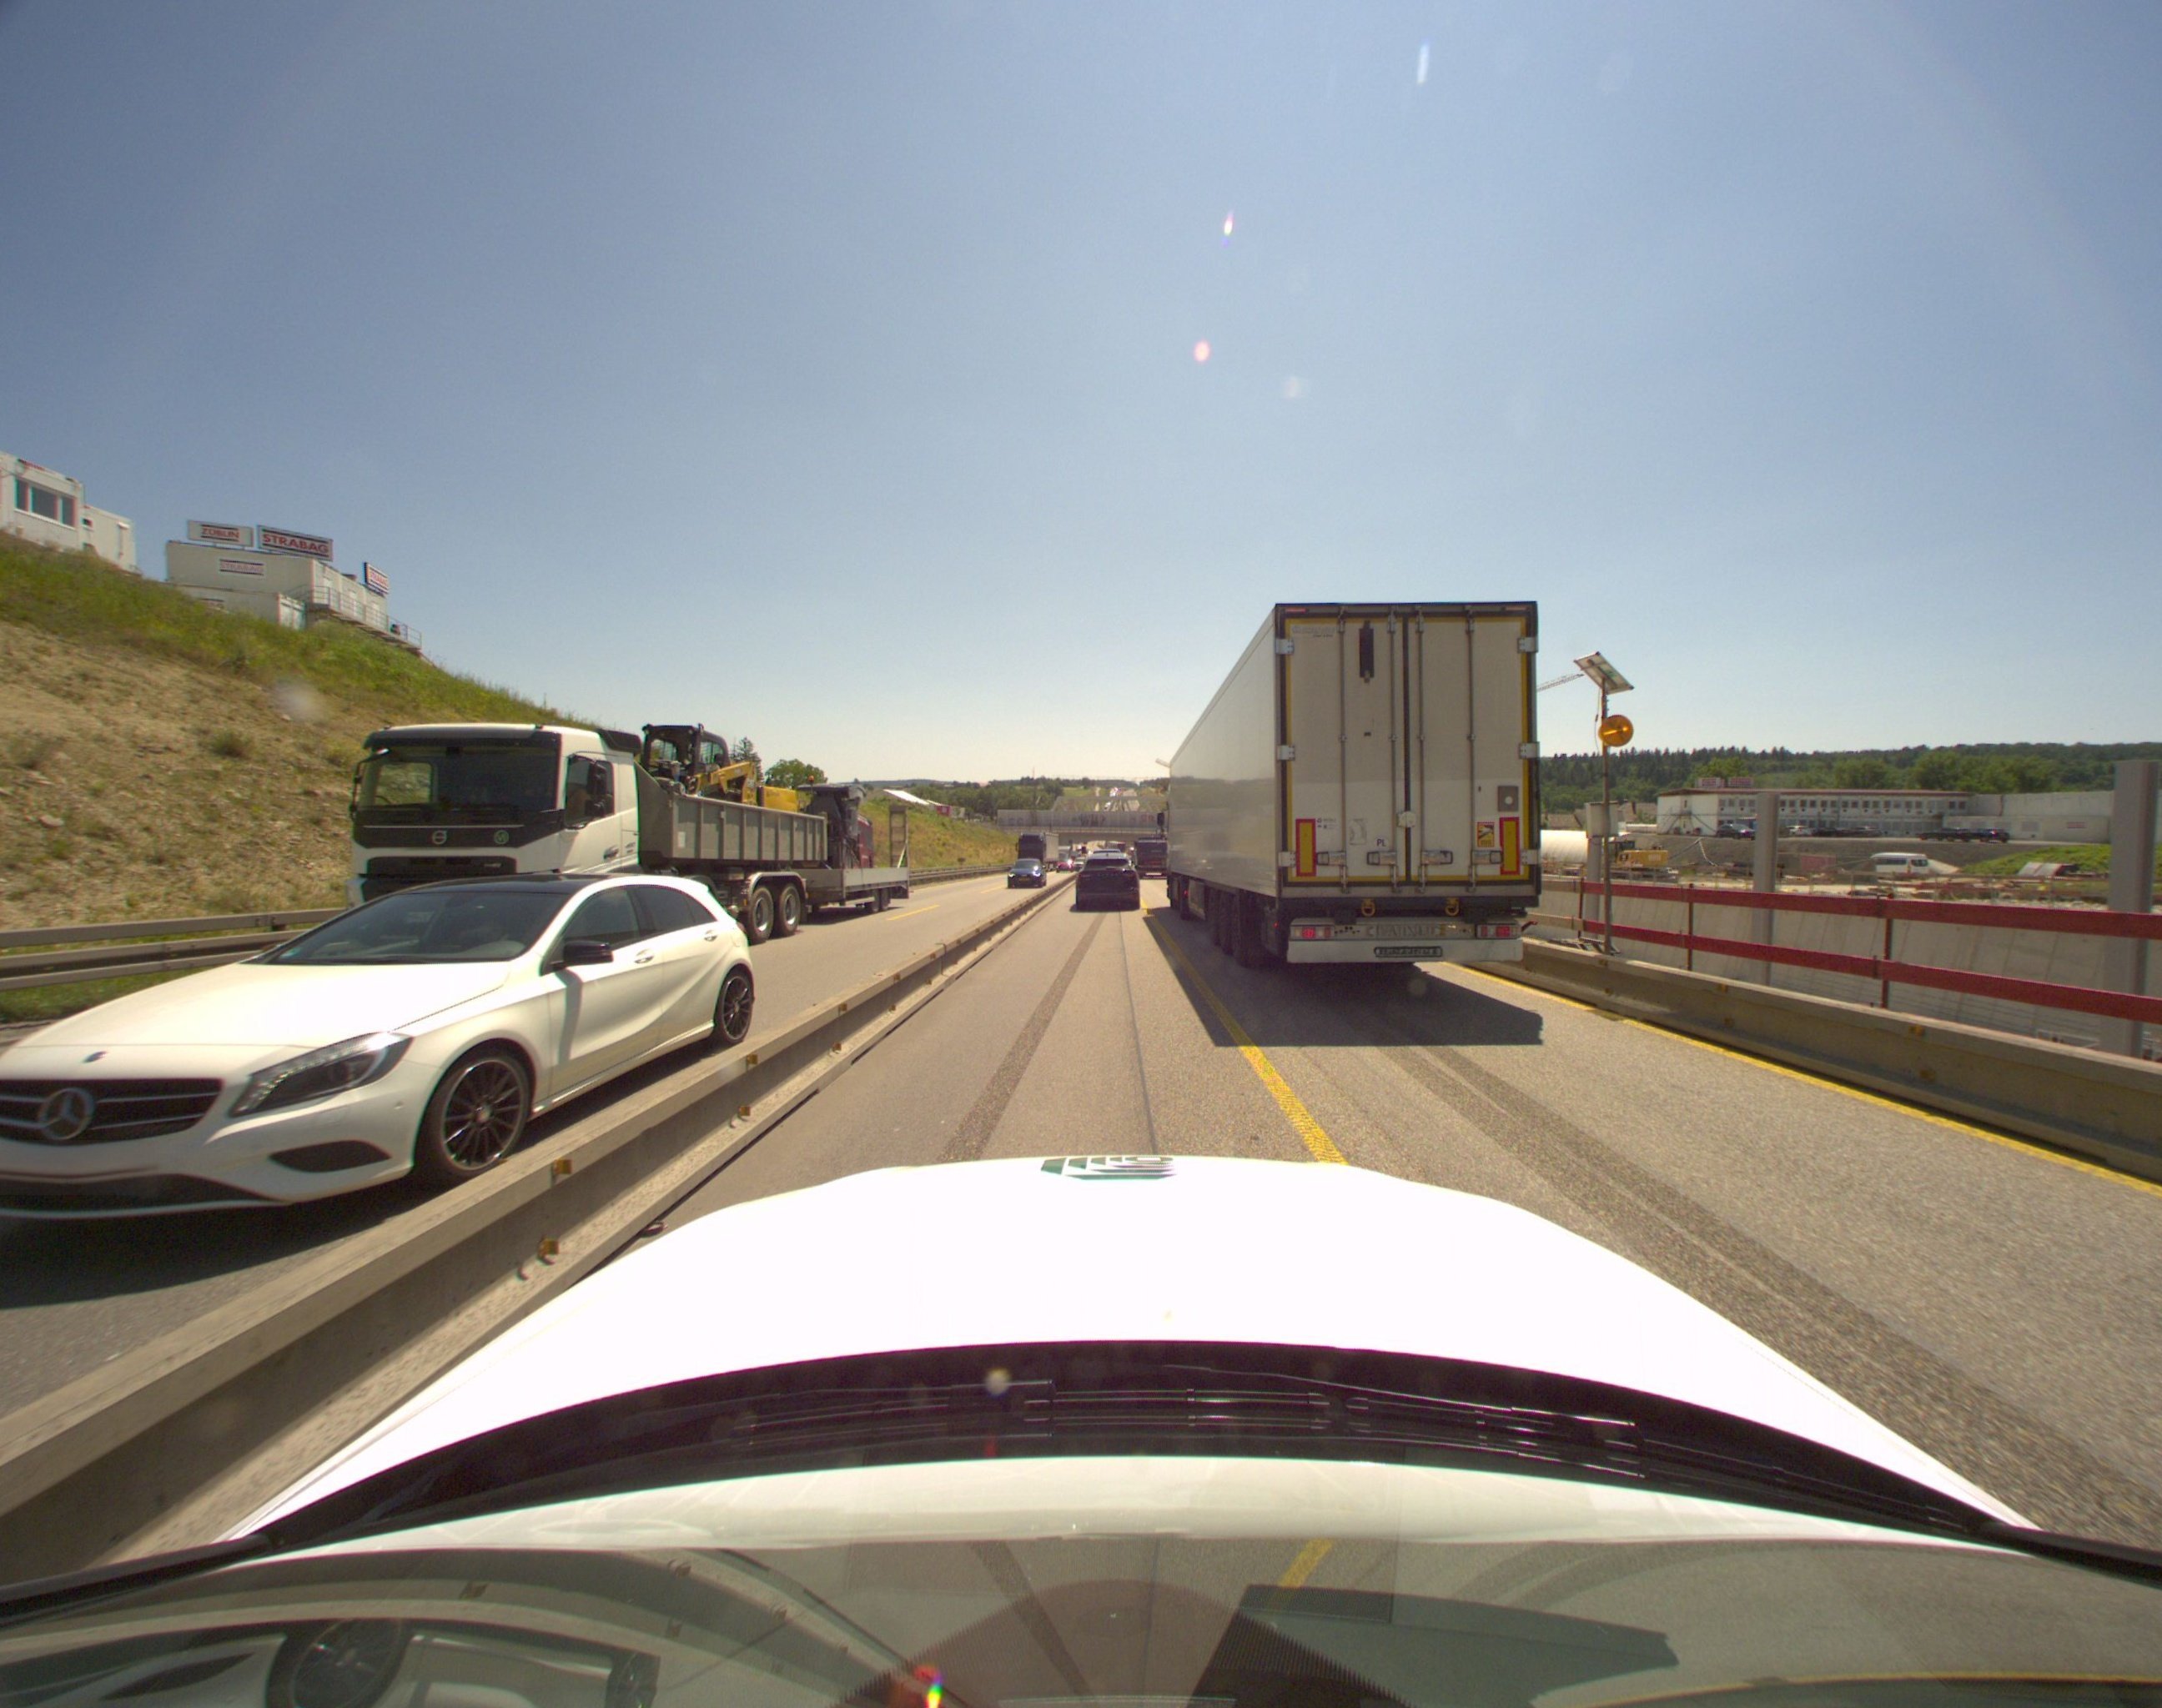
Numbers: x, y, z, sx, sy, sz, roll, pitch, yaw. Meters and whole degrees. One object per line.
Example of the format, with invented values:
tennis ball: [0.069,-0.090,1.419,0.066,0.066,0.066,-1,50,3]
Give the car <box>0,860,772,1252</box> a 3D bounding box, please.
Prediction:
car: [-3.610,0.781,5.135,1.678,1.430,4.123,-1,0,1]

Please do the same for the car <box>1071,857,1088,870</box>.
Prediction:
car: [-0.122,1.173,97.070,1.819,1.487,4.198,-1,0,2]

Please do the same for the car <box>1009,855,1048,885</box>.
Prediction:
car: [-2.599,0.762,40.894,1.683,1.403,3.687,-1,0,1]

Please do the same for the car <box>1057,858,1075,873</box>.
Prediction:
car: [-1.459,1.128,81.064,1.584,1.487,3.296,-1,0,2]

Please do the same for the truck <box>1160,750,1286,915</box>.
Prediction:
truck: [3.751,-0.531,22.637,2.766,4.058,4.907,-1,0,2]

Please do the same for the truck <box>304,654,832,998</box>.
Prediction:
truck: [-7.042,-0.295,13.558,2.577,3.723,9.336,-1,0,2]

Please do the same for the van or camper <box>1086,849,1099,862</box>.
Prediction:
van or camper: [2.236,0.338,160.527,2.206,2.481,4.755,0,-1,4]

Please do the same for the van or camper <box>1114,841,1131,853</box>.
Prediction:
van or camper: [13.036,-2.190,256.231,3.941,3.419,8.382,0,0,-8]

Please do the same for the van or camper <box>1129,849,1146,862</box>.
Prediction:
van or camper: [15.456,0.314,221.843,3.920,3.419,8.428,0,0,9]

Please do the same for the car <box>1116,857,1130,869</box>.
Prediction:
car: [5.108,1.092,98.839,1.486,1.330,3.244,1,0,1]

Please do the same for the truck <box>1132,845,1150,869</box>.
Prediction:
truck: [11.145,0.589,152.412,3.163,4.318,9.264,-1,0,3]

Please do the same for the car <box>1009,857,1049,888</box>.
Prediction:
car: [-2.534,0.891,40.431,1.678,1.430,3.850,-1,0,1]

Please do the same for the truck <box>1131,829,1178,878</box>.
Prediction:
truck: [5.122,-0.024,58.888,2.803,3.135,12.846,-1,0,3]

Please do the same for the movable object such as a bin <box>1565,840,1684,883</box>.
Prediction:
movable object such as a bin: [39.979,0.513,60.437,2.876,2.909,9.485,0,0,3]

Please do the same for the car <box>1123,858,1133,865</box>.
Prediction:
car: [7.756,1.226,134.237,1.533,1.206,3.310,-1,0,0]

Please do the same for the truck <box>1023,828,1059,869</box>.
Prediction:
truck: [-4.115,-0.531,86.937,2.756,4.088,13.812,0,0,2]

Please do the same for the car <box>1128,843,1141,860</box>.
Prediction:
car: [7.309,-0.288,111.331,1.656,2.269,3.797,1,0,1]

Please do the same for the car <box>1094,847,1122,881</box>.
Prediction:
car: [1.529,0.555,45.179,1.469,1.795,3.299,-1,0,2]

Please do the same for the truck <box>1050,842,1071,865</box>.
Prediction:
truck: [-2.634,-0.020,106.483,2.259,2.882,5.854,0,0,2]

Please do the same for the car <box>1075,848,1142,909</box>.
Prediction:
car: [0.817,0.649,23.816,1.793,1.620,3.299,-1,1,2]

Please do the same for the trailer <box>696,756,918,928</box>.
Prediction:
trailer: [-6.756,-0.244,21.902,2.577,3.637,9.082,-1,0,2]

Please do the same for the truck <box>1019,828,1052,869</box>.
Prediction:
truck: [-4.412,-0.476,79.722,2.757,3.884,4.966,0,0,2]

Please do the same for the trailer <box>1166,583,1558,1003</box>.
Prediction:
trailer: [3.469,-0.564,14.990,2.791,4.058,14.123,-1,0,2]
